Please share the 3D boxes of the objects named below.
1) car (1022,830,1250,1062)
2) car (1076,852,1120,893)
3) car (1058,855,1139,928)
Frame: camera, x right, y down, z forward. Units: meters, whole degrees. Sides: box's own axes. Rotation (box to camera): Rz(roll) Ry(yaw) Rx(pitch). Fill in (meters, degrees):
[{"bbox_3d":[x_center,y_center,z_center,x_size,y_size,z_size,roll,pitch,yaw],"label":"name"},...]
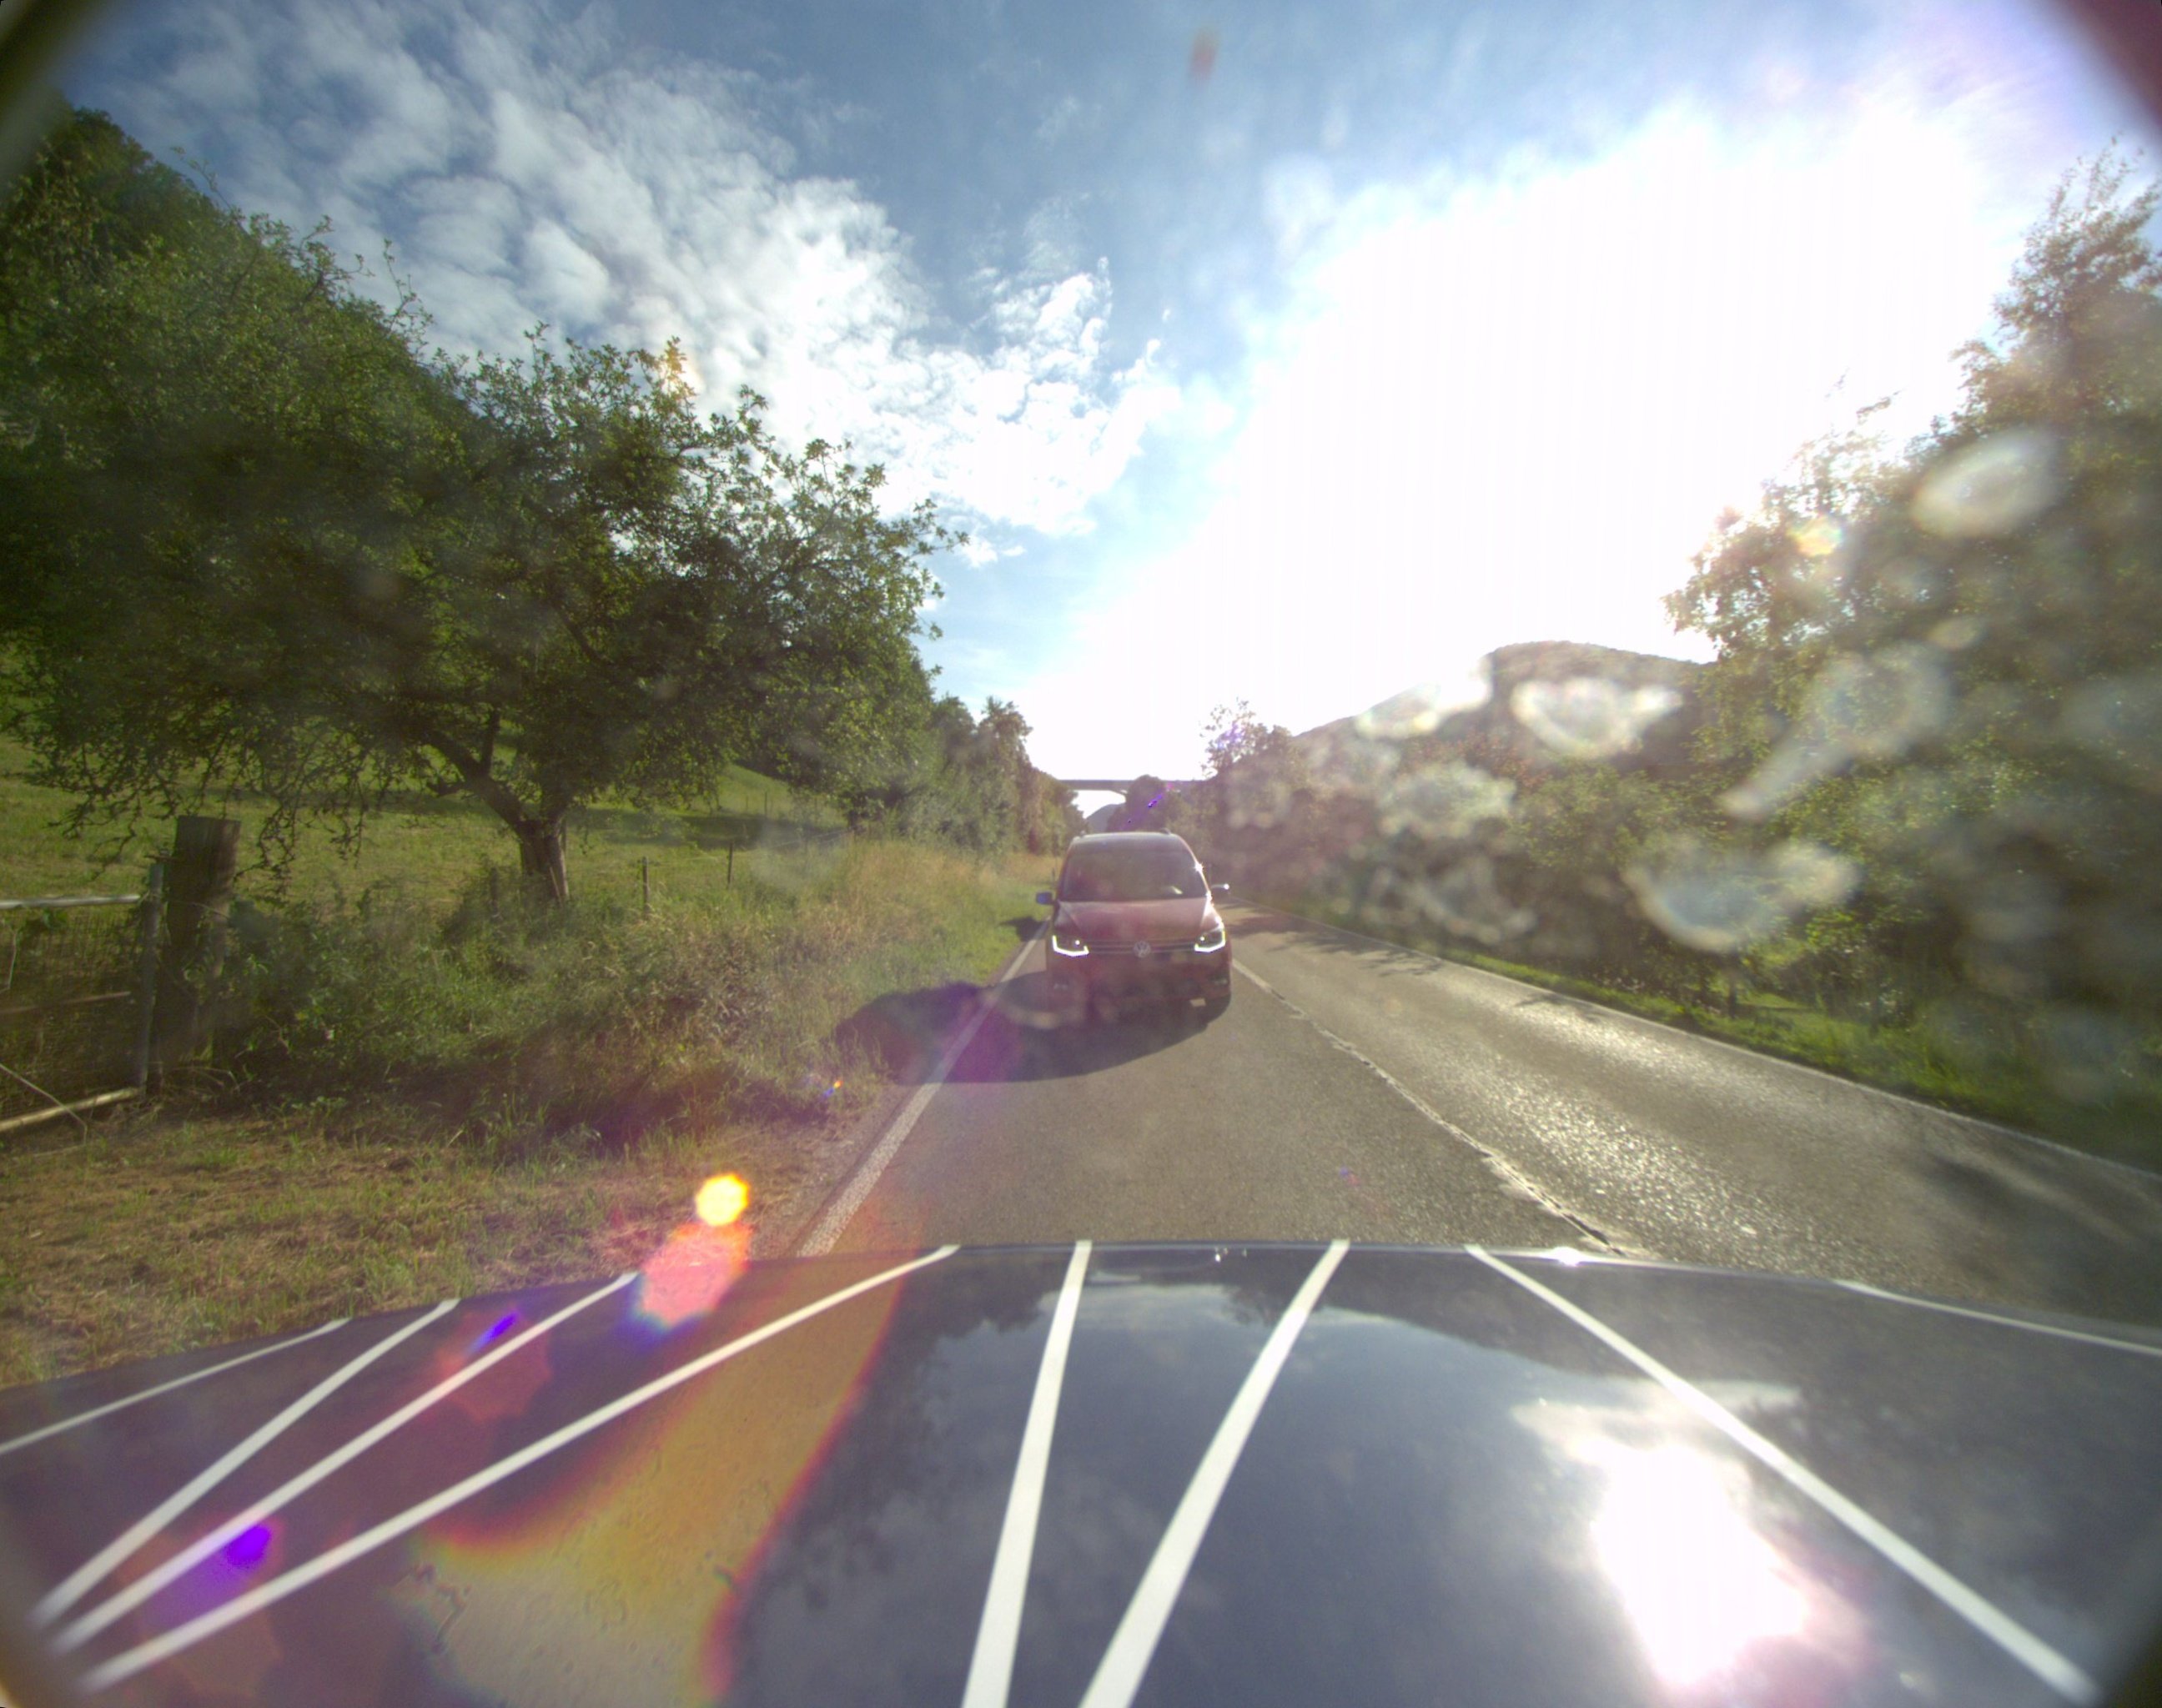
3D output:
[{"bbox_3d":[0.497,0.726,8.270,1.753,1.799,4.288,-3,1,1],"label":"car"},{"bbox_3d":[0.759,0.779,33.767,1.753,1.608,4.288,-3,1,1],"label":"car"},{"bbox_3d":[0.452,0.858,19.353,1.753,1.513,4.288,-3,1,1],"label":"car"}]
